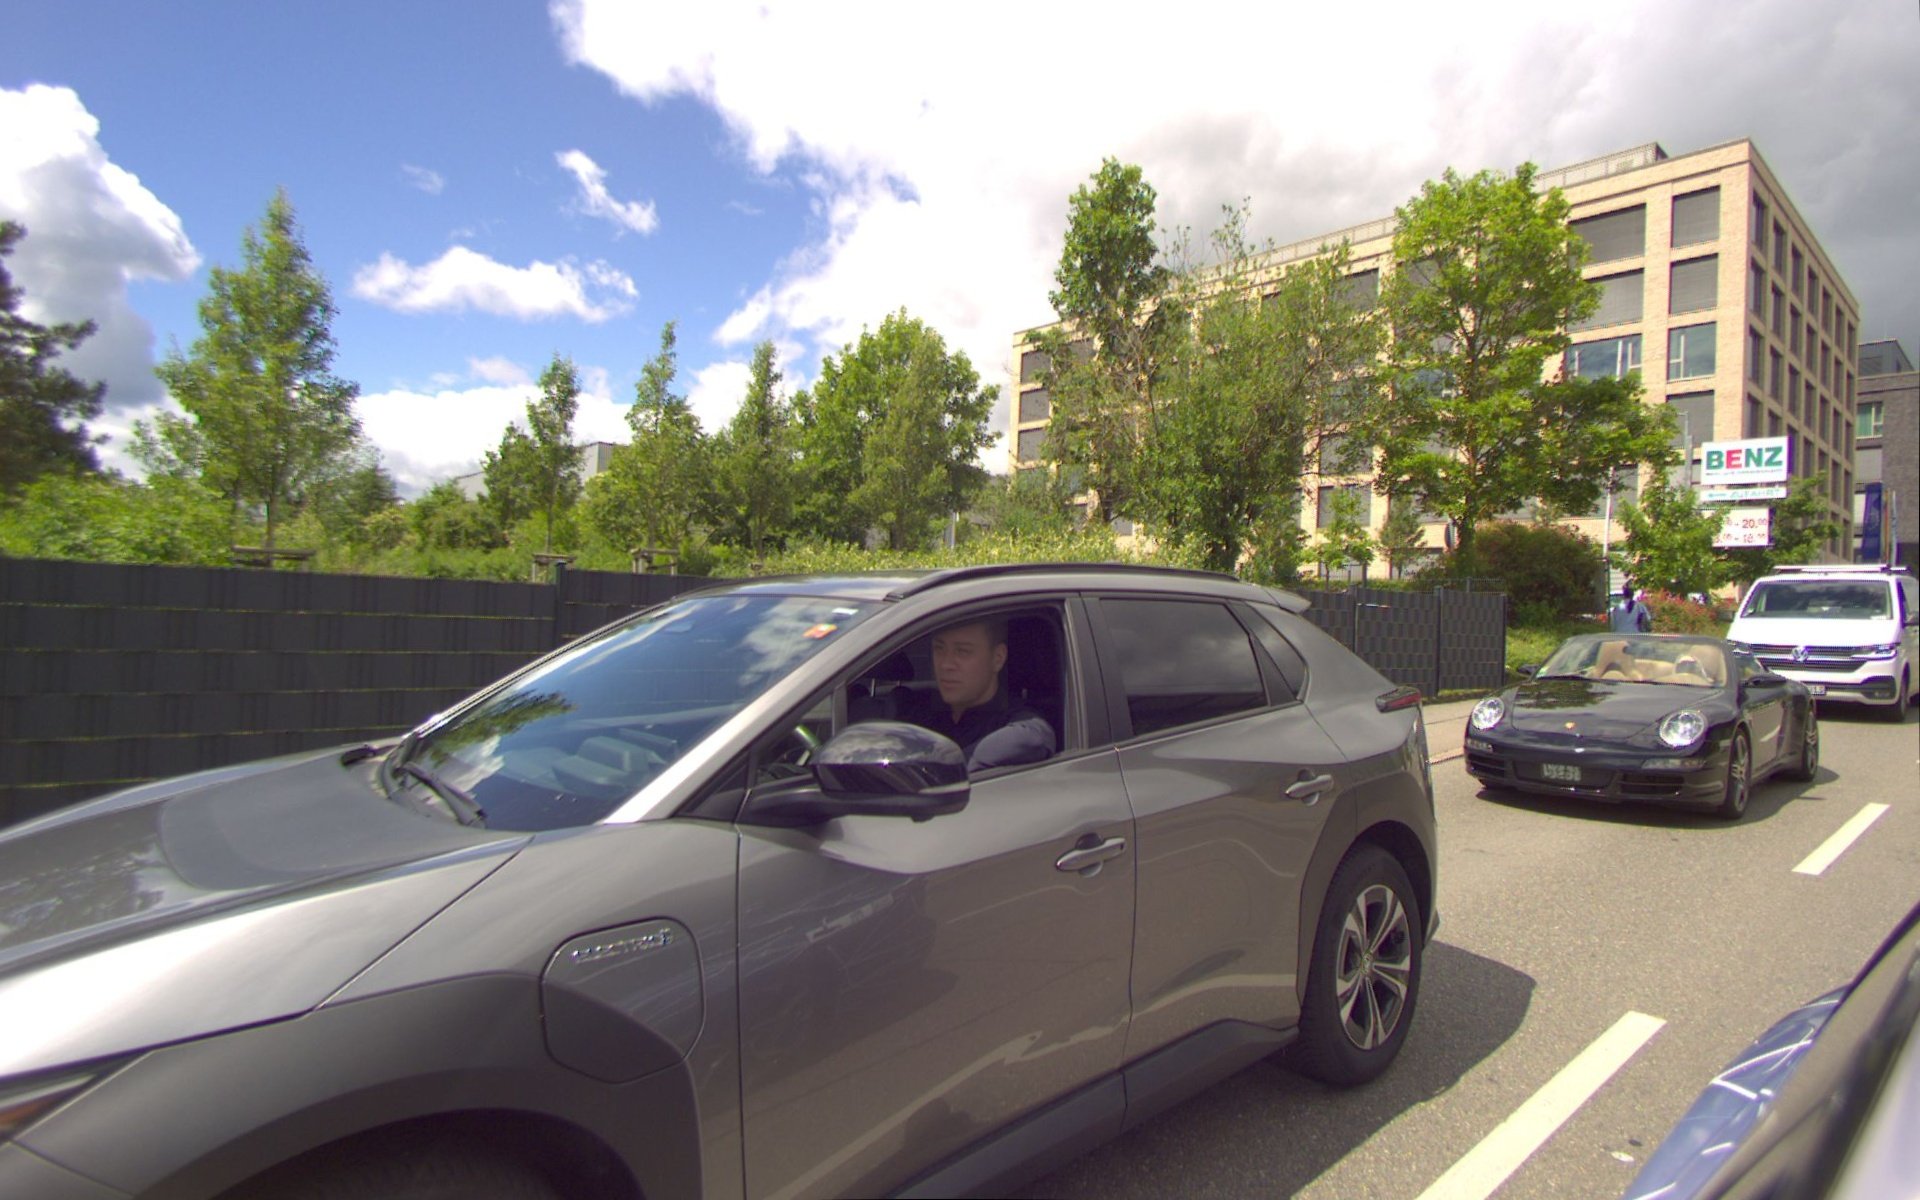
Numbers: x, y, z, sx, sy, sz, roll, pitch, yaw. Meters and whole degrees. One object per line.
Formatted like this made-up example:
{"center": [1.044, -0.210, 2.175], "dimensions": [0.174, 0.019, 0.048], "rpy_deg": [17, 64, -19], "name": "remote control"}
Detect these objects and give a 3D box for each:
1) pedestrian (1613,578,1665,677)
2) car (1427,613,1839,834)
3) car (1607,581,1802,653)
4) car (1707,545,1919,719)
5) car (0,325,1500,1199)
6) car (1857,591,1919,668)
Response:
{"center": [11.862, 0.463, 17.679], "dimensions": [0.435, 1.678, 0.631], "rpy_deg": [0, 1, -42], "name": "pedestrian"}
{"center": [5.635, 0.792, 8.288], "dimensions": [3.967, 1.310, 1.823], "rpy_deg": [0, 0, -41], "name": "car"}
{"center": [19.984, 0.393, 27.276], "dimensions": [1.793, 1.754, 3.991], "rpy_deg": [0, 2, -44], "name": "car"}
{"center": [12.519, 0.373, 14.377], "dimensions": [4.677, 2.075, 2.087], "rpy_deg": [0, 0, -41], "name": "car"}
{"center": [-0.359, 0.515, 2.976], "dimensions": [4.501, 1.649, 1.997], "rpy_deg": [0, 1, -42], "name": "car"}
{"center": [20.242, 0.584, 21.073], "dimensions": [3.930, 1.481, 1.817], "rpy_deg": [0, 2, -41], "name": "car"}
